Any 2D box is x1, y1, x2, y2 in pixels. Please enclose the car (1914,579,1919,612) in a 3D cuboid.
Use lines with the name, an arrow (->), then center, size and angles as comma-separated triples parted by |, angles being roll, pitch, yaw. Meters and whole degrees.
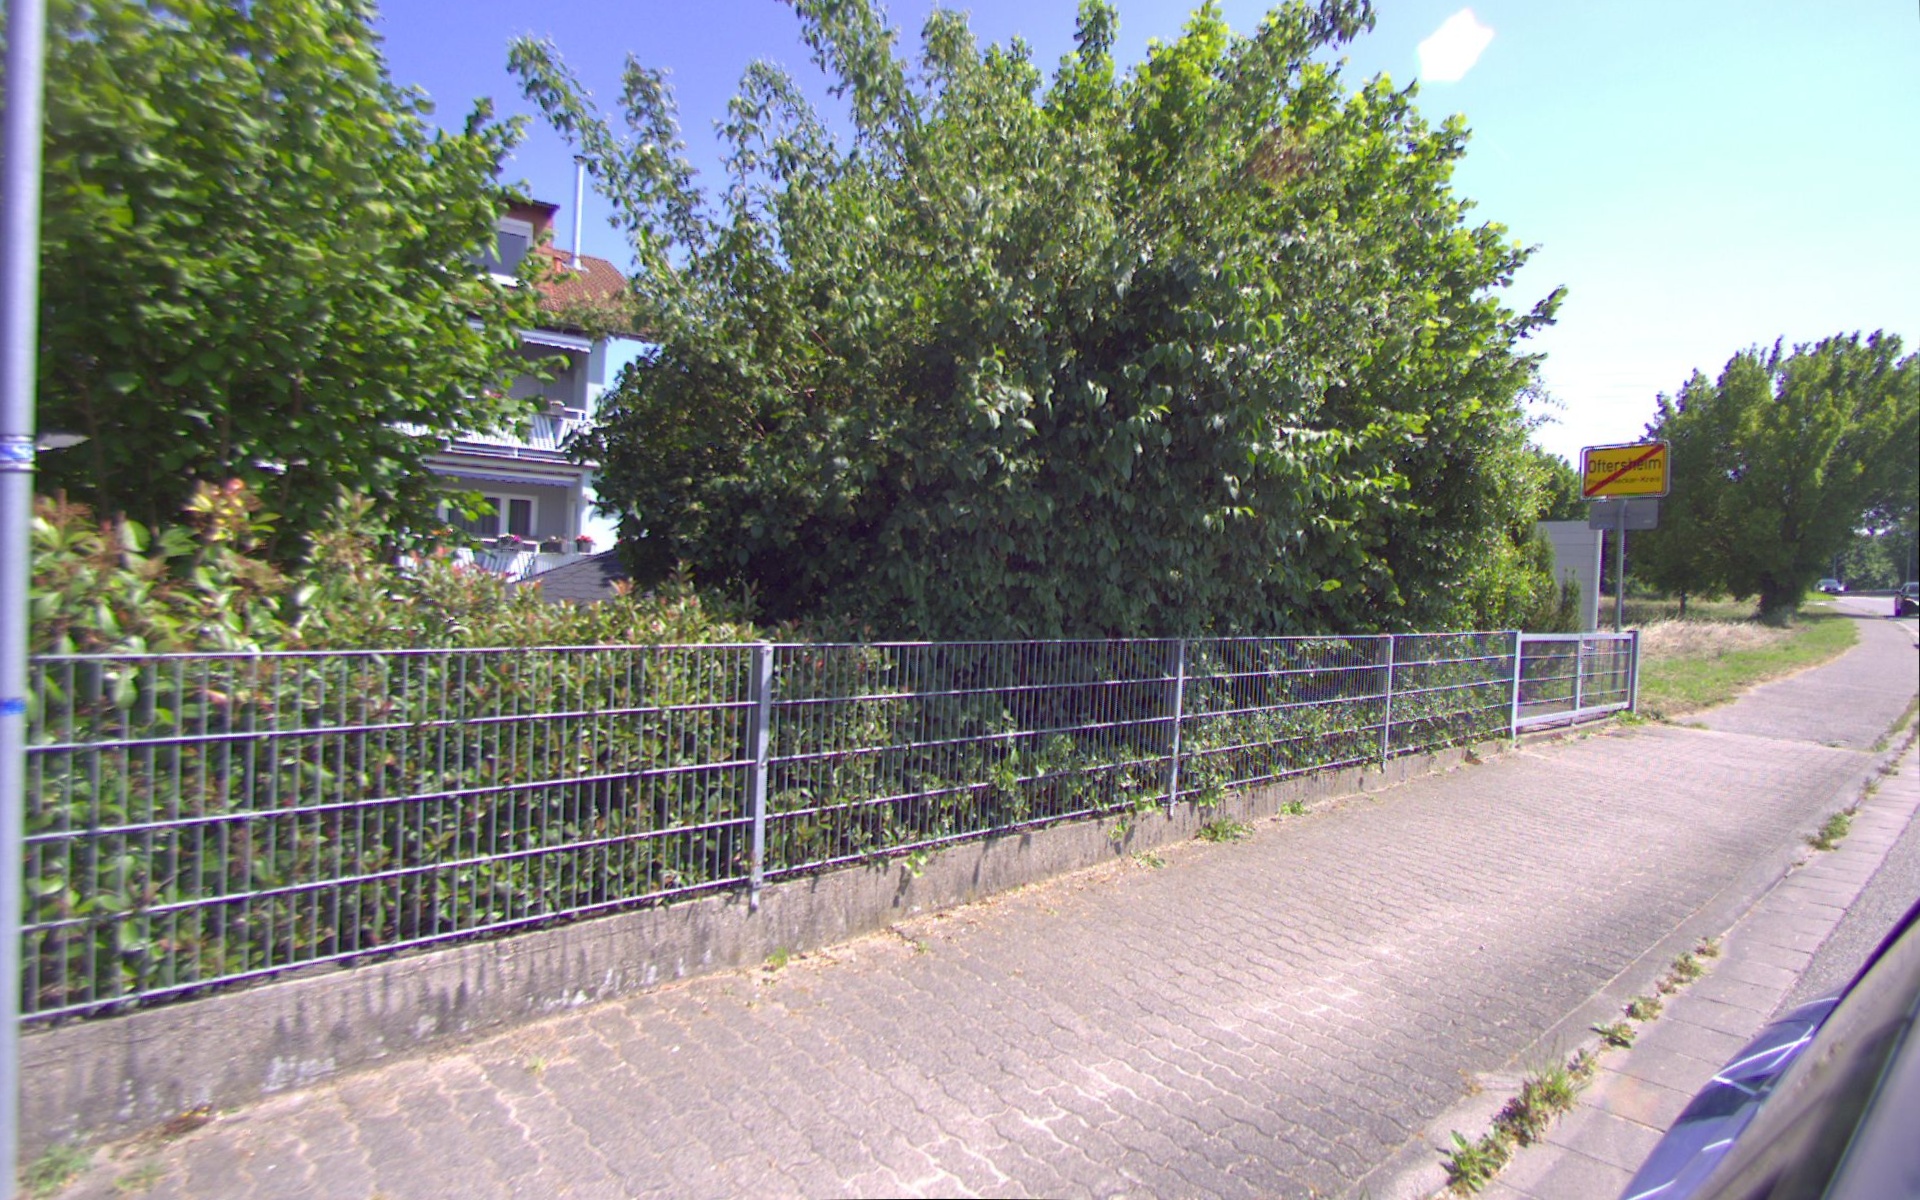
car -> 46.026, -0.190, 47.196 | 1.756, 1.558, 3.636 | 2, 2, 36

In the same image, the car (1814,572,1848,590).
car -> 82.497, -1.792, 95.862 | 1.987, 1.551, 3.949 | 1, 1, 35
